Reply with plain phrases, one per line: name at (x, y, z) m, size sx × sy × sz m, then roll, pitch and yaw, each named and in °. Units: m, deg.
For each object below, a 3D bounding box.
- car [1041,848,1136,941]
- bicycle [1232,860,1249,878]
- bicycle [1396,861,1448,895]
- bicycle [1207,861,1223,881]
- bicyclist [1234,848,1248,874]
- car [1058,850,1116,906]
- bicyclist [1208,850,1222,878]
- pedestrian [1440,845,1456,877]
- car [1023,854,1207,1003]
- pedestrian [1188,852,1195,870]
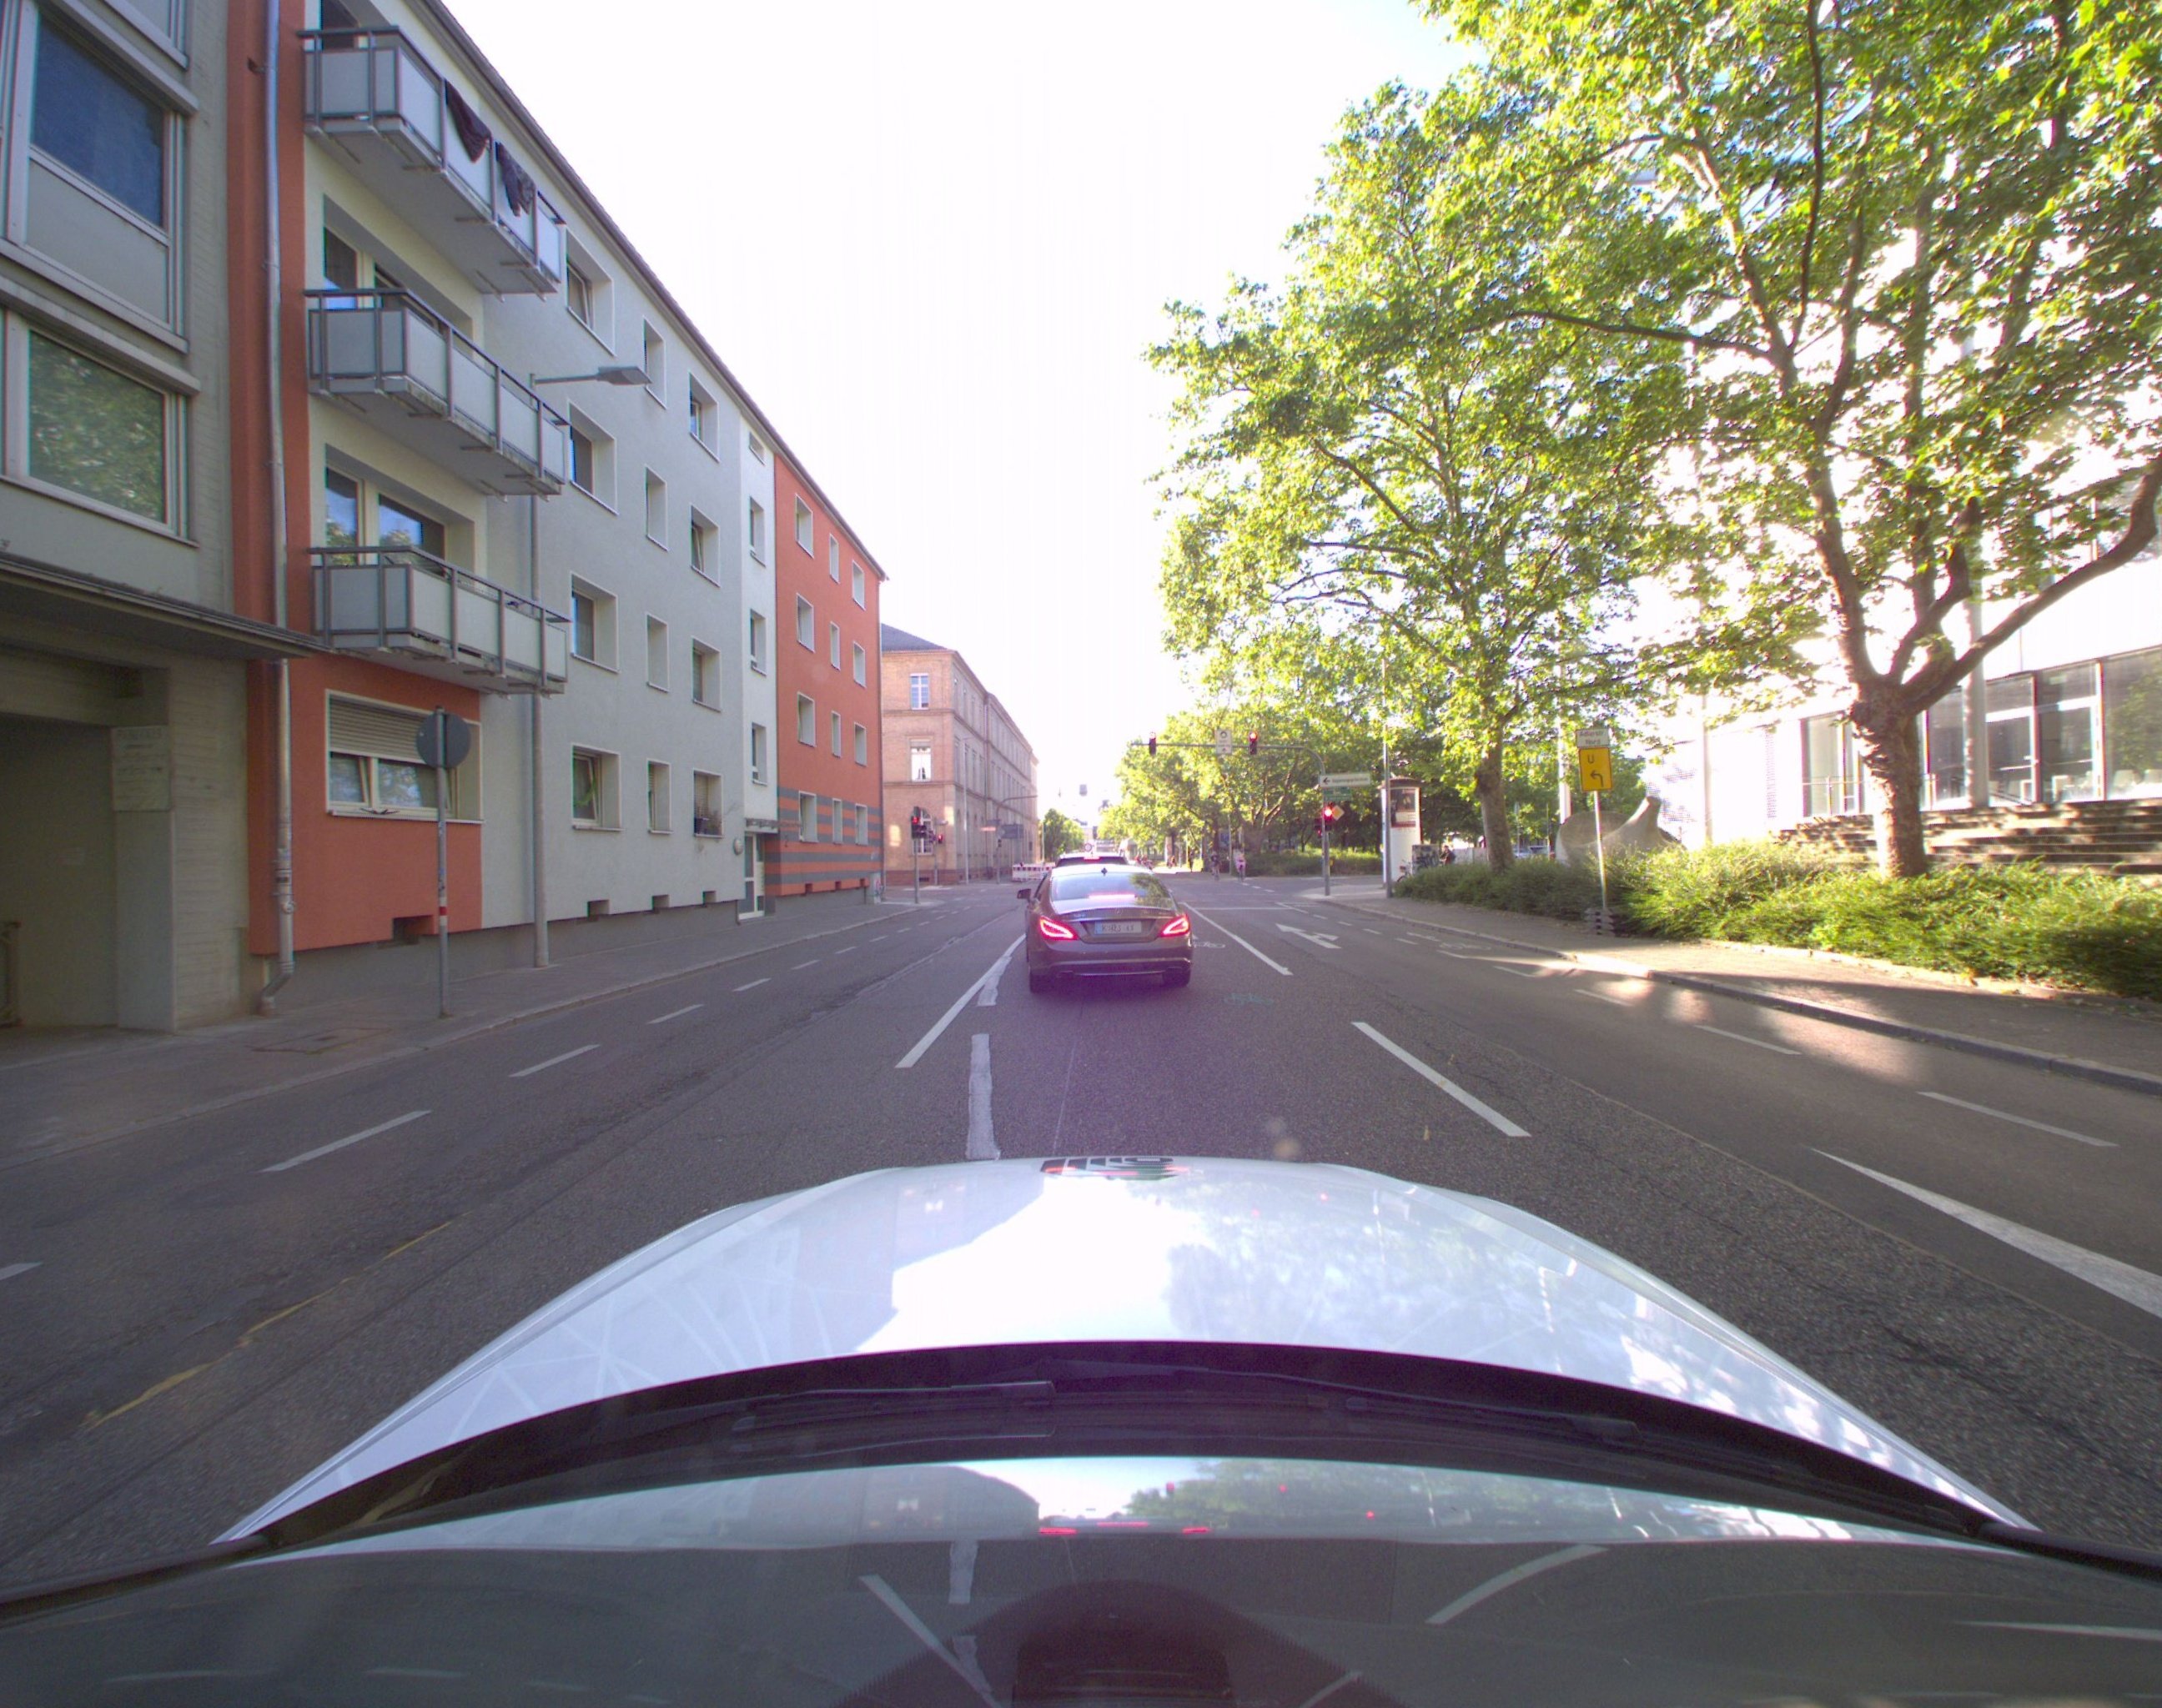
car at (0.157, 0.734, 16.562) m, size 1.676 × 1.625 × 3.841 m, roll -1°, pitch 0°, yaw 0°
bicycle at (8.758, 0.804, 44.777) m, size 0.598 × 0.985 × 1.882 m, roll 0°, pitch 0°, yaw 2°
bicycle at (10.920, 0.758, 26.082) m, size 1.411 × 1.037 × 0.538 m, roll -1°, pitch 0°, yaw -2°
bicycle at (7.351, 0.917, 44.760) m, size 0.608 × 1.026 × 1.732 m, roll 0°, pitch 0°, yaw 2°
bicyclist at (8.768, 0.366, 44.700) m, size 0.598 × 1.402 × 0.931 m, roll 0°, pitch 0°, yaw 2°
car at (0.203, 0.732, 26.022) m, size 1.676 × 1.625 × 3.841 m, roll -1°, pitch 0°, yaw 0°
bicyclist at (7.353, 0.536, 44.695) m, size 0.608 × 1.516 × 0.890 m, roll 0°, pitch 0°, yaw 1°
pedestrian at (21.025, 0.384, 46.685) m, size 0.617 × 1.784 × 0.631 m, roll -1°, pitch 0°, yaw 4°
car at (0.200, 0.770, 10.502) m, size 1.818 × 1.476 × 4.345 m, roll -1°, pitch 0°, yaw -5°
pedestrian at (10.475, 0.670, 77.195) m, size 0.557 × 1.678 × 0.565 m, roll -1°, pitch 0°, yaw 1°
